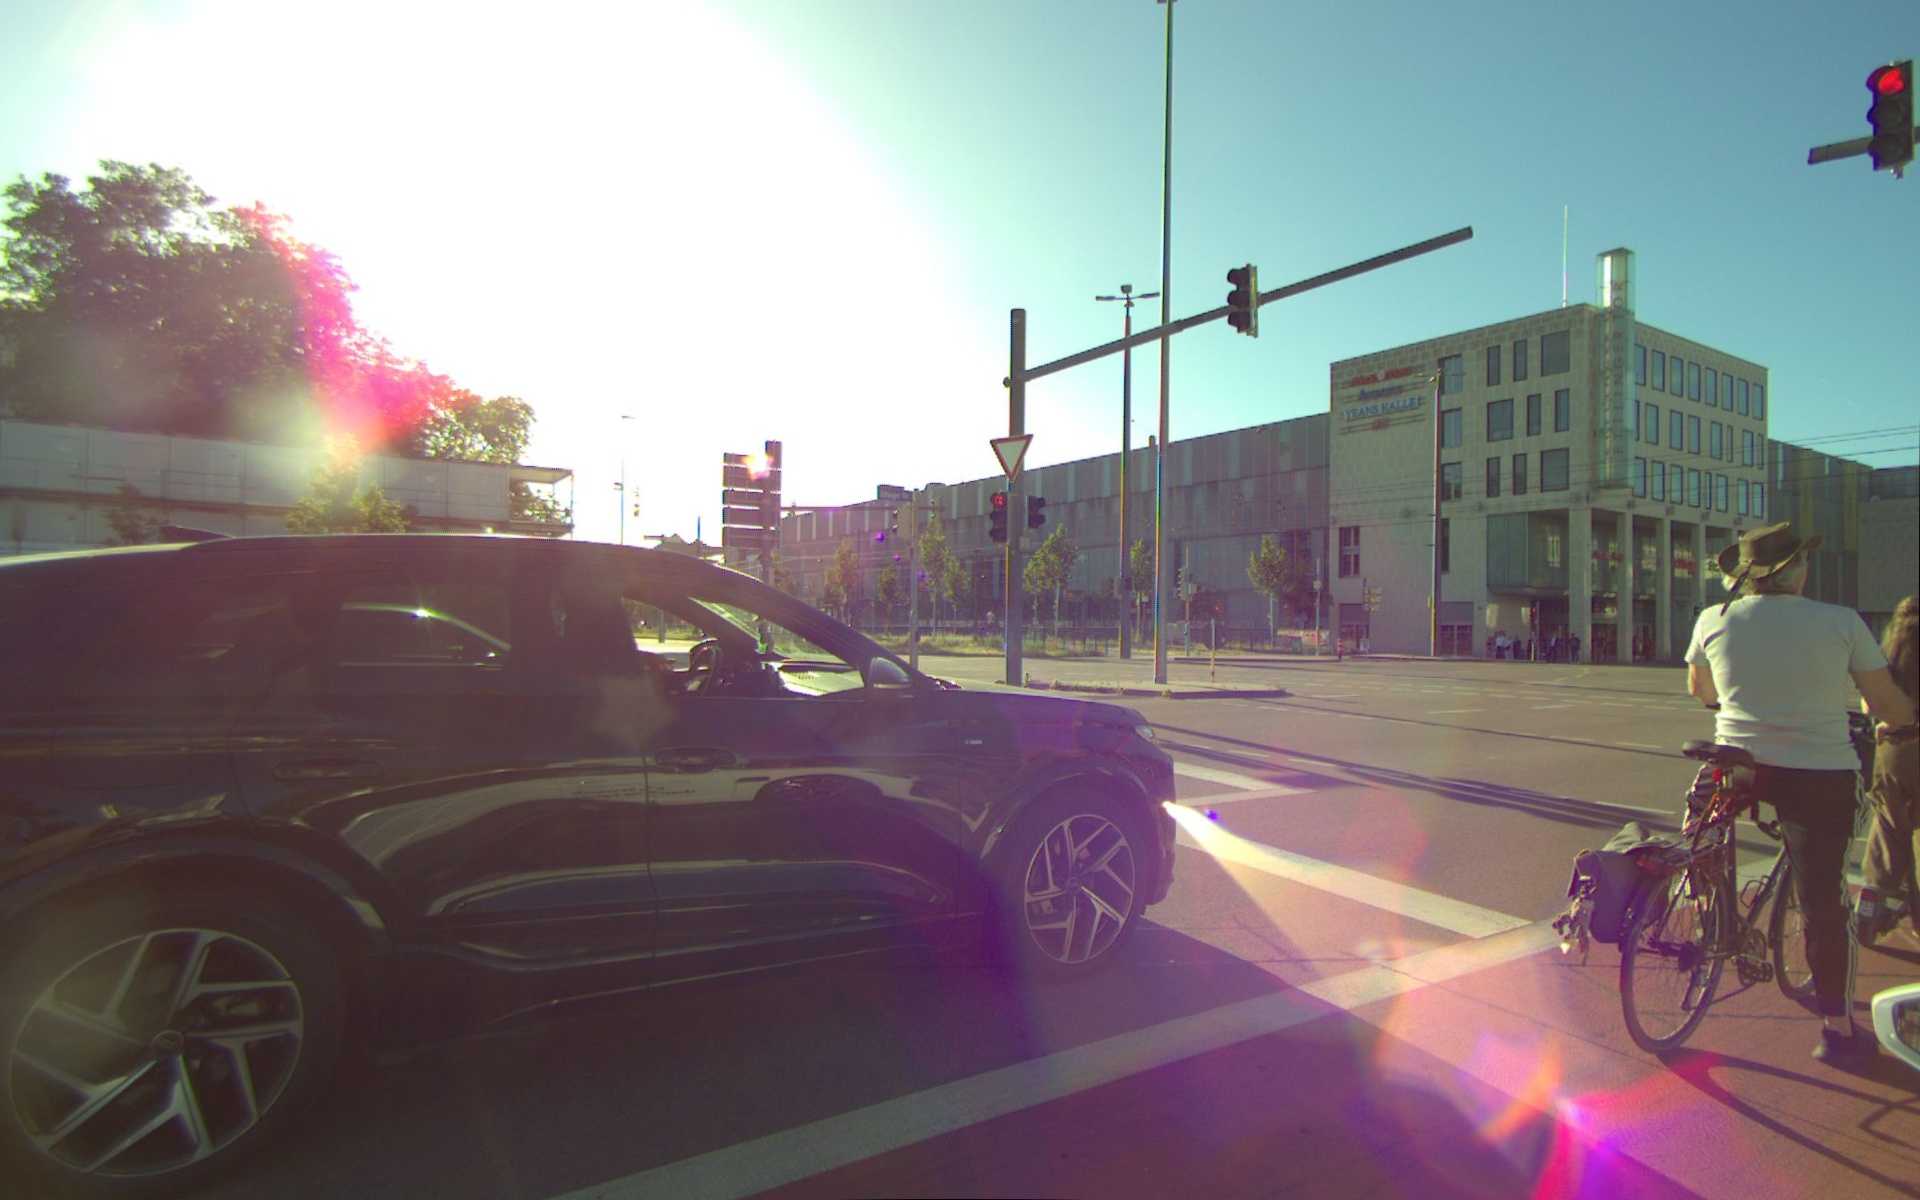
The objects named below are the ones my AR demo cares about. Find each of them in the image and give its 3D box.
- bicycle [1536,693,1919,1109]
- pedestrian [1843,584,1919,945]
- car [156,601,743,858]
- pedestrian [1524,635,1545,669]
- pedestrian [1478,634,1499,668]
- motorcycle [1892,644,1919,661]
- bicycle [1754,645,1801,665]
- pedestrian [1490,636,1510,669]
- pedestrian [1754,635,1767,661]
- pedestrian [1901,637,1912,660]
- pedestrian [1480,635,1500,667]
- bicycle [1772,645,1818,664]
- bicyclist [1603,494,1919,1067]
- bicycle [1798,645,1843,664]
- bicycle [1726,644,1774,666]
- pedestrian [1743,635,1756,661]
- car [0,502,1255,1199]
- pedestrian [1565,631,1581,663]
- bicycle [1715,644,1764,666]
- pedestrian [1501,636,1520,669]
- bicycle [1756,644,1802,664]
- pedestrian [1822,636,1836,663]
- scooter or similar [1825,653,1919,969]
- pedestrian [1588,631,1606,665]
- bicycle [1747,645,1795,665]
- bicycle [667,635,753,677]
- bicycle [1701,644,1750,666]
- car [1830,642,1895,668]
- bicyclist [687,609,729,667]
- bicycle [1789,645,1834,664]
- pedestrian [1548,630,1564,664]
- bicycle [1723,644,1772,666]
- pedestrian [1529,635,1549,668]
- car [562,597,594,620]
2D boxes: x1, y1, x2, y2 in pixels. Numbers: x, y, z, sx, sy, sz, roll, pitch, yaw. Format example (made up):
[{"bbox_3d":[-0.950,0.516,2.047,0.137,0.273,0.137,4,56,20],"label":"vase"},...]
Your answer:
[{"bbox_3d":[2.883,0.963,3.682,1.810,1.171,0.482,2,0,-31],"label":"bicycle"},{"bbox_3d":[4.637,0.763,4.808,0.568,1.654,0.543,2,0,-45],"label":"pedestrian"},{"bbox_3d":[-3.582,0.792,7.498,3.562,1.505,1.485,1,0,-30],"label":"car"},{"bbox_3d":[33.399,3.007,58.379,0.710,1.910,0.779,2,0,-36],"label":"pedestrian"},{"bbox_3d":[32.962,3.177,62.672,0.767,2.040,0.876,2,0,-41],"label":"pedestrian"},{"bbox_3d":[70.741,3.903,74.859,0.508,1.223,1.786,1,0,-44],"label":"motorcycle"},{"bbox_3d":[52.904,3.529,65.022,0.605,1.238,2.295,1,-1,-31],"label":"bicycle"},{"bbox_3d":[32.164,3.129,59.871,0.710,1.910,0.779,2,0,-36],"label":"pedestrian"},{"bbox_3d":[54.632,3.272,68.554,0.602,1.702,0.549,1,0,-40],"label":"pedestrian"},{"bbox_3d":[71.099,3.667,75.459,0.579,1.702,0.516,1,1,-43],"label":"pedestrian"},{"bbox_3d":[32.406,3.112,61.418,0.710,1.910,0.779,2,0,-36],"label":"pedestrian"},{"bbox_3d":[55.521,3.617,66.833,0.605,1.238,2.295,1,-1,-31],"label":"bicycle"},{"bbox_3d":[2.873,0.558,3.555,0.856,1.743,0.657,2,0,-30],"label":"bicyclist"},{"bbox_3d":[59.826,3.763,69.856,0.605,1.238,2.295,1,-1,-31],"label":"bicycle"},{"bbox_3d":[48.699,3.386,61.962,0.605,1.238,2.295,1,-1,-31],"label":"bicycle"},{"bbox_3d":[54.257,3.284,69.029,0.610,1.702,0.565,1,0,-39],"label":"pedestrian"},{"bbox_3d":[-1.150,0.634,3.872,4.630,1.656,1.760,1,0,-32],"label":"car"},{"bbox_3d":[35.632,2.730,58.427,0.784,1.868,0.862,0,-1,32],"label":"pedestrian"},{"bbox_3d":[46.966,3.326,60.530,0.605,1.238,2.295,1,-1,-31],"label":"bicycle"},{"bbox_3d":[33.278,3.167,60.691,0.780,1.910,0.709,2,0,-37],"label":"pedestrian"},{"bbox_3d":[54.283,3.578,66.570,0.605,1.238,2.295,1,-1,-31],"label":"bicycle"},{"bbox_3d":[56.055,3.180,64.793,0.639,1.742,0.449,0,-1,37],"label":"pedestrian"},{"bbox_3d":[4.496,0.927,4.716,1.186,1.311,0.541,2,0,-45],"label":"scooter or similar"},{"bbox_3d":[35.875,2.694,56.586,0.784,1.868,0.863,0,-1,28],"label":"pedestrian"},{"bbox_3d":[51.279,3.472,63.554,0.605,1.238,2.295,1,-1,-31],"label":"bicycle"},{"bbox_3d":[-9.053,2.014,36.411,2.905,1.388,0.970,2,0,16],"label":"bicycle"},{"bbox_3d":[45.765,3.288,60.086,0.605,1.238,2.295,1,-1,-31],"label":"bicycle"},{"bbox_3d":[49.786,3.061,55.413,3.956,1.359,1.621,2,-4,-32],"label":"car"},{"bbox_3d":[-9.139,1.376,36.467,1.078,2.040,0.961,2,0,15],"label":"bicyclist"},{"bbox_3d":[58.854,3.731,69.432,0.605,1.238,2.295,1,-1,-31],"label":"bicycle"},{"bbox_3d":[34.361,2.691,57.921,0.705,1.910,0.785,2,0,33],"label":"pedestrian"},{"bbox_3d":[48.049,3.363,61.341,0.605,1.238,2.295,1,-1,-31],"label":"bicycle"},{"bbox_3d":[34.409,3.044,59.692,0.710,1.910,0.779,2,0,-36],"label":"pedestrian"},{"bbox_3d":[-32.935,0.733,86.514,1.785,1.908,3.964,2,0,-33],"label":"car"}]
